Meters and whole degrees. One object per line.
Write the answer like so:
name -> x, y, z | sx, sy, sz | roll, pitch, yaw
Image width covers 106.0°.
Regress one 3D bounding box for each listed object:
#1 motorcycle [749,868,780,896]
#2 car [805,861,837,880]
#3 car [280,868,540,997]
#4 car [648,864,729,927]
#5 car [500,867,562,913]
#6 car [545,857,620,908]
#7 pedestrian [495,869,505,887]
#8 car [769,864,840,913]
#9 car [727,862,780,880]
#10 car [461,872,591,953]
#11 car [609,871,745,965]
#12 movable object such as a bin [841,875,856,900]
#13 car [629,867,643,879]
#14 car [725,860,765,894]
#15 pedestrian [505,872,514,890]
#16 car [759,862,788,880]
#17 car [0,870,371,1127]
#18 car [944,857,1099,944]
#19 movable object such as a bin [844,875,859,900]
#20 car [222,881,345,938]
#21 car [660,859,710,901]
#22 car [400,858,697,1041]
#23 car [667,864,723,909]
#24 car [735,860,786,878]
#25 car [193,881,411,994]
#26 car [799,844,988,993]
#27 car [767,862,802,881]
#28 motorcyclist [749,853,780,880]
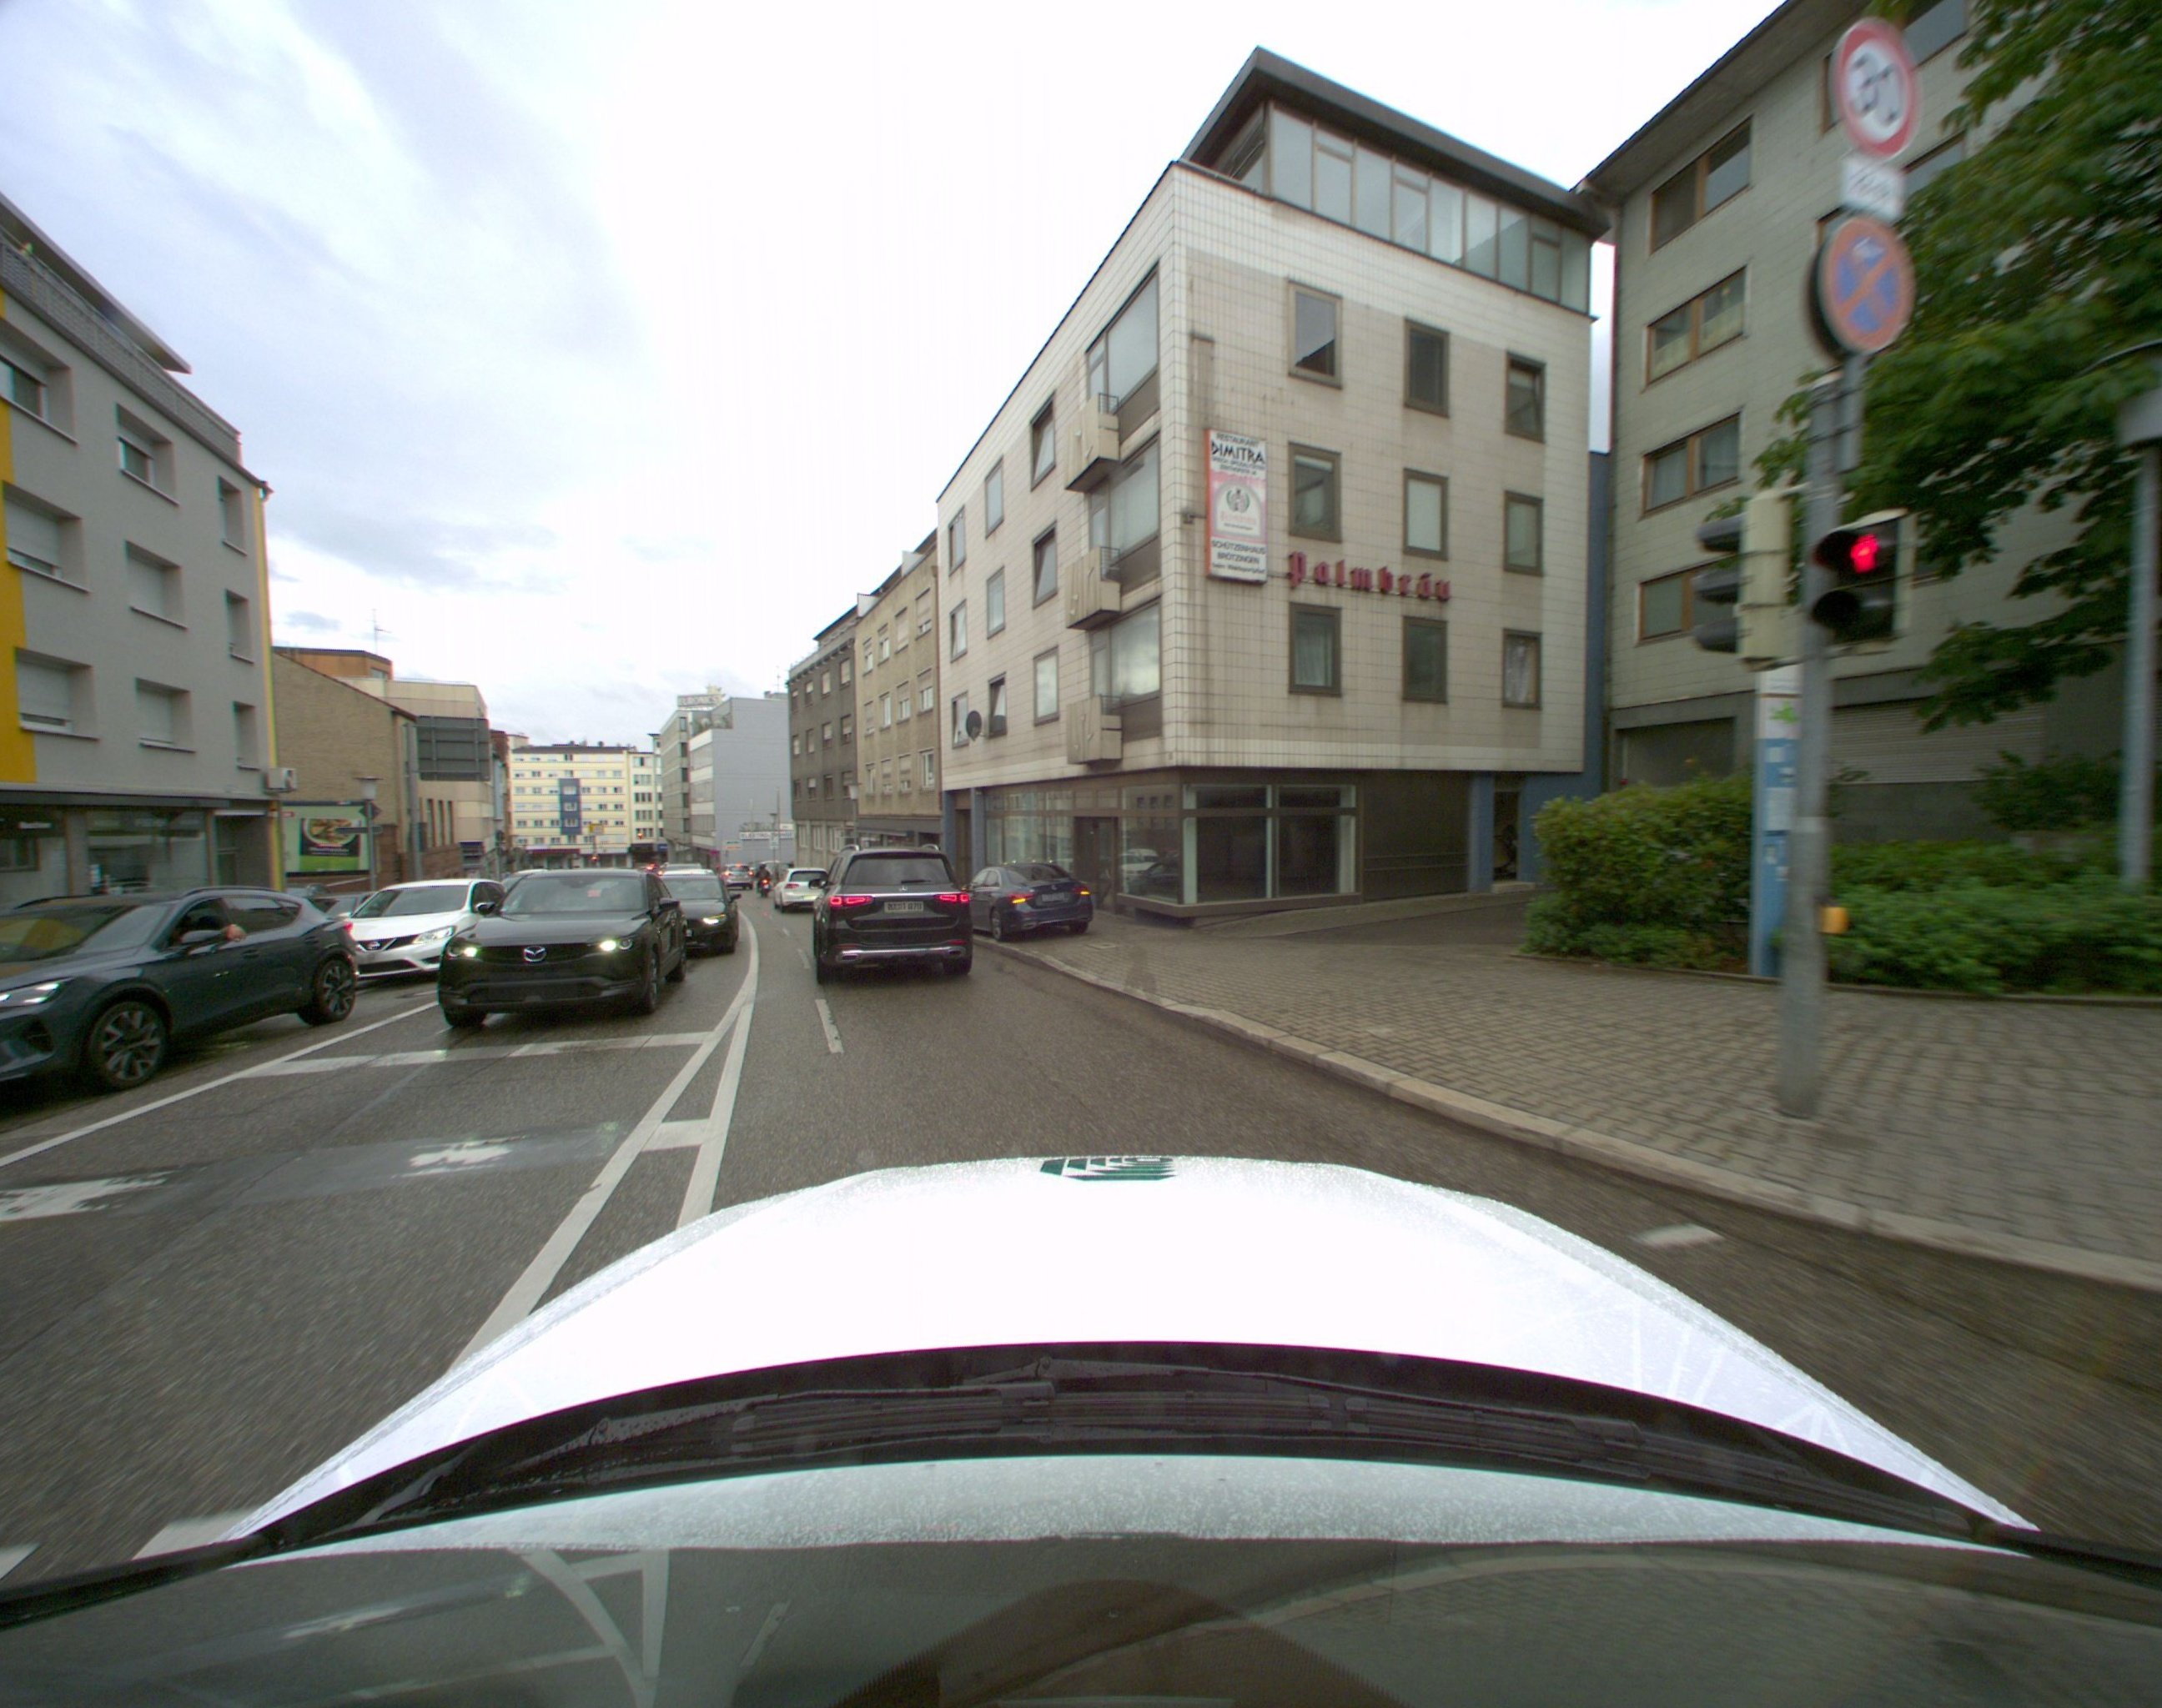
motorcycle -> -15.024, 1.315, 38.626 | 0.873, 1.057, 2.910 | -1, 4, -31
car -> -21.331, 1.303, 66.722 | 1.807, 1.477, 4.444 | -1, 0, -28
car -> -10.601, 1.092, 13.326 | 1.812, 1.542, 4.351 | -2, 1, -19
car -> -10.955, 1.098, 22.883 | 1.815, 1.521, 4.524 | -2, 0, -25
car -> -24.667, 1.576, 36.626 | 1.737, 1.829, 4.024 | -4, 0, -27
car -> -16.991, 0.936, 27.923 | 1.750, 1.515, 4.094 | -4, 0, -27
pedestrian -> -55.325, 2.251, 77.588 | 0.745, 1.652, 0.599 | -1, 4, -36
car -> -9.571, 1.142, 27.967 | 1.839, 1.461, 4.343 | -3, 0, -24
car -> -29.047, 1.480, 72.330 | 1.710, 1.495, 4.025 | -3, -2, 38
car -> -13.574, 1.330, 20.202 | 1.815, 1.631, 4.308 | -4, 1, -24
car -> -7.397, 1.062, 15.315 | 1.813, 1.415, 4.348 | -2, 0, -20
movable object such as a bin -> -9.604, 1.368, 33.648 | 0.527, 0.980, 0.533 | 0, 4, -25
car -> -58.715, 2.514, 107.459 | 1.532, 1.548, 3.077 | -1, 0, -31
car -> -20.820, 1.388, 50.360 | 1.765, 1.779, 3.541 | -1, 4, -31
pedestrian -> -54.799, 2.575, 78.142 | 0.676, 1.652, 0.599 | -1, 4, -36
car -> -26.380, 1.416, 69.815 | 1.576, 1.477, 4.028 | 0, -1, -33
car -> -8.285, 0.974, 6.922 | 1.825, 1.477, 4.351 | -2, 1, -19
car -> -1.360, 0.845, 16.506 | 1.772, 1.392, 4.345 | -4, 0, -23
movable object such as a bin -> -9.336, 1.342, 33.111 | 0.527, 0.950, 0.533 | 0, 4, -25
car -> -24.711, 1.652, 25.420 | 1.702, 1.455, 4.618 | -1, 0, -31
car -> -17.304, 1.098, 35.492 | 1.816, 1.705, 4.521 | 1, -2, -27
car -> -5.743, 0.891, 9.447 | 1.825, 1.537, 4.350 | -2, -1, -19
car -> -13.911, 1.137, 29.438 | 1.706, 1.480, 4.255 | 1, -1, -25
car -> -29.652, 1.373, 75.364 | 1.776, 1.597, 4.025 | -3, -2, 38
car -> -14.335, 1.429, 15.279 | 1.743, 1.596, 3.748 | -1, 1, -24
car -> -3.008, 0.776, 12.175 | 2.029, 1.739, 4.712 | -1, 0, -22
car -> -23.714, 1.354, 64.960 | 1.809, 1.477, 4.440 | 0, -1, -31
motorcyclist -> -15.034, 0.557, 38.651 | 0.873, 1.057, 2.910 | -1, 4, -31
